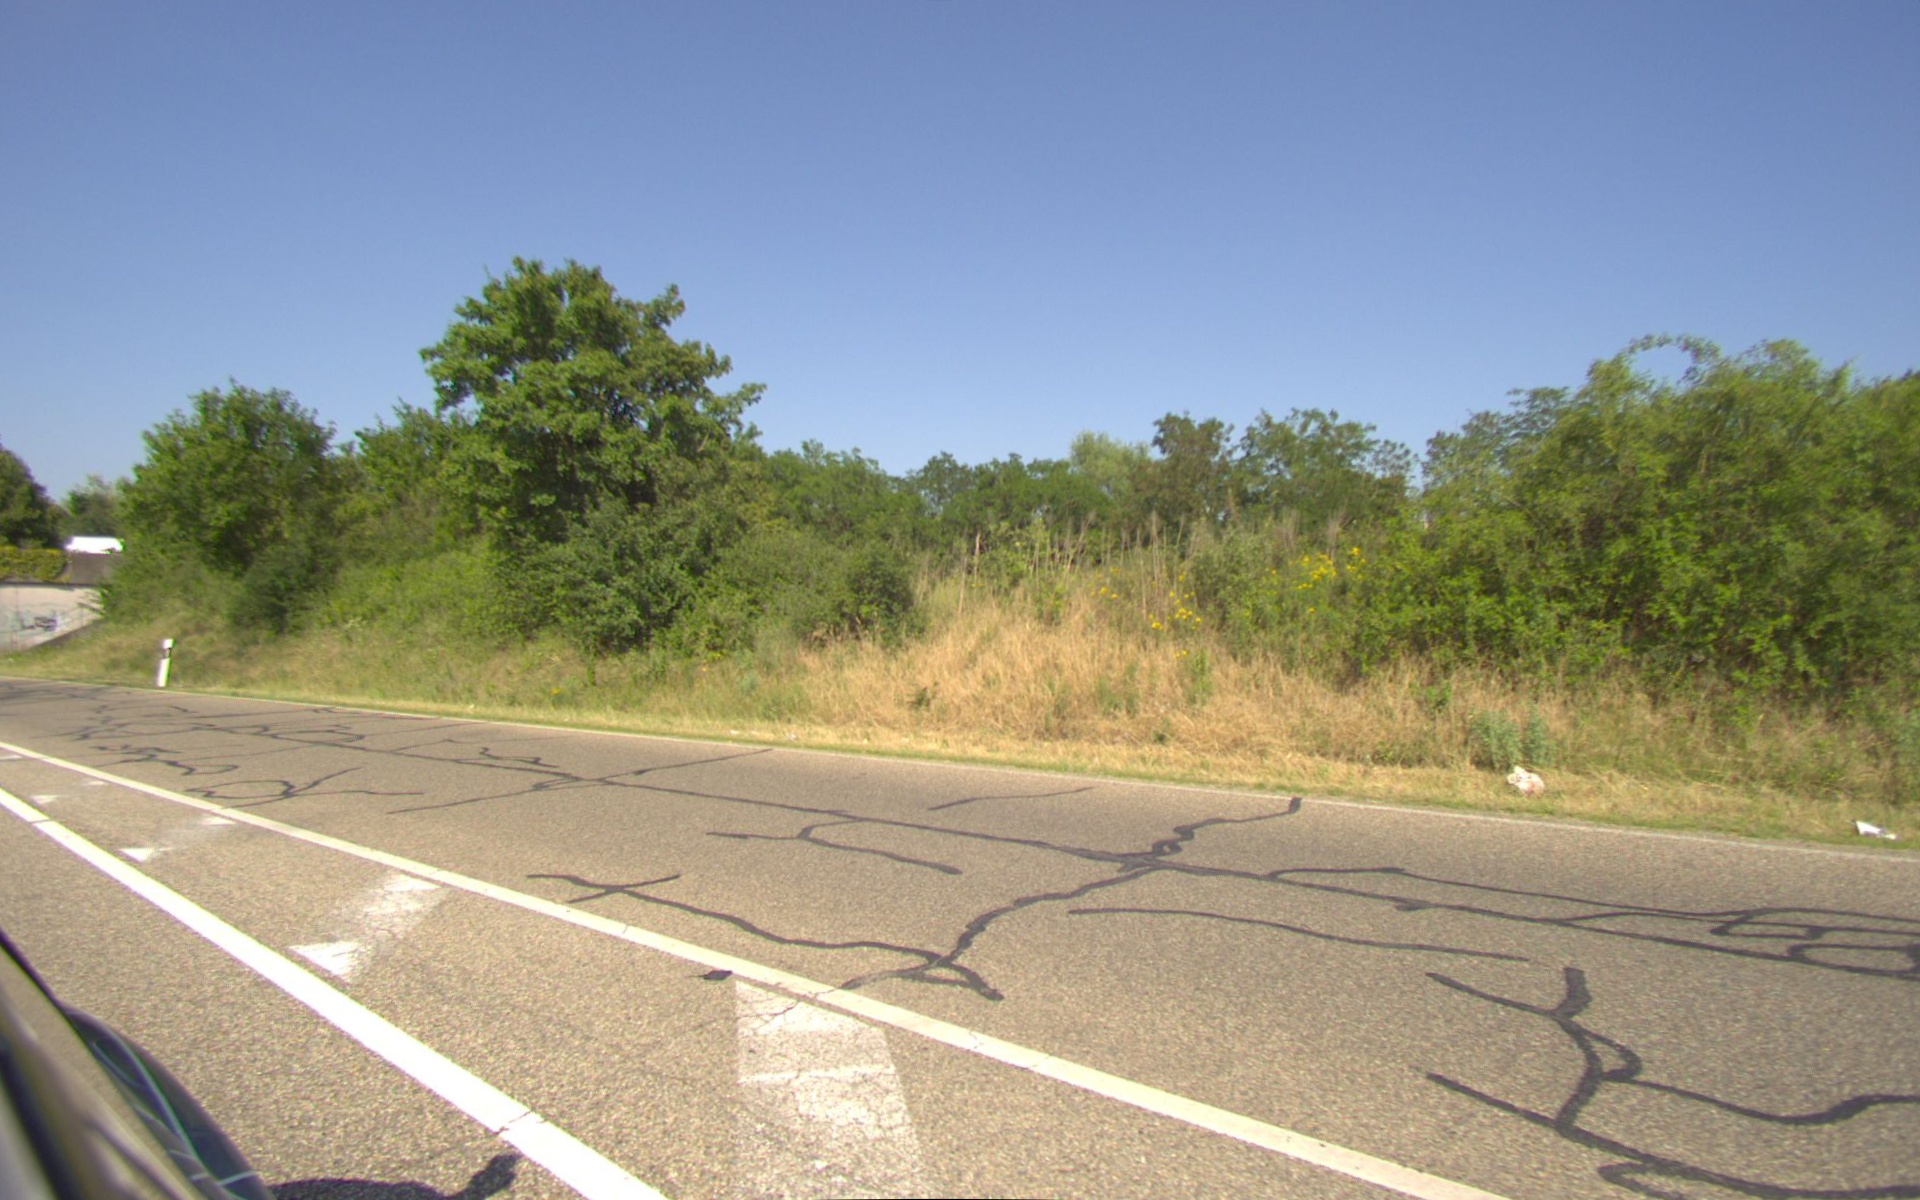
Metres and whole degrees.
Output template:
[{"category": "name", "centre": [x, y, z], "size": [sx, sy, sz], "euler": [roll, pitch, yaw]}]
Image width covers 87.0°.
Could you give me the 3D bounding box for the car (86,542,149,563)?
[{"category": "car", "centre": [-79.626, -4.461, 95.678], "size": [4.264, 1.915, 1.751], "euler": [-1, 0, -20]}]
